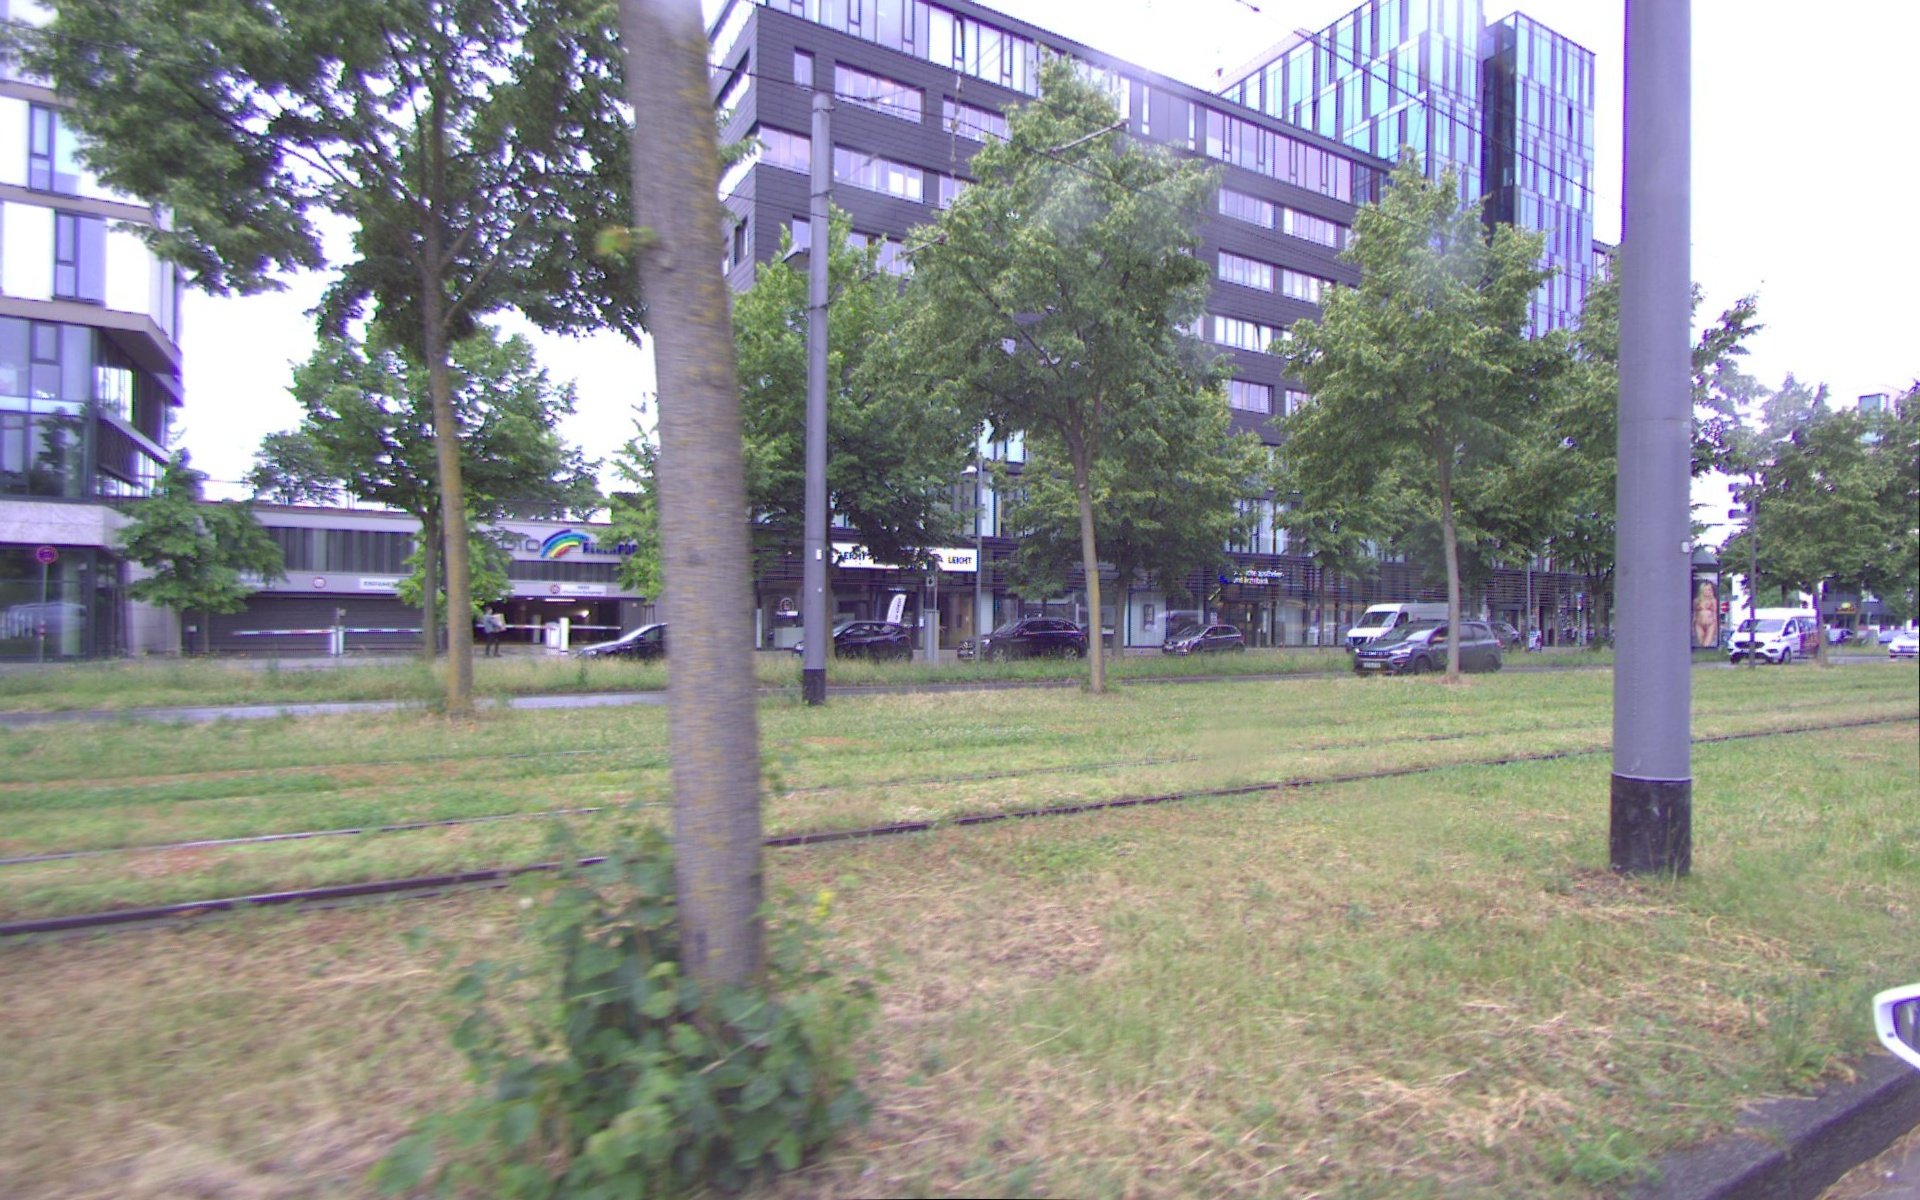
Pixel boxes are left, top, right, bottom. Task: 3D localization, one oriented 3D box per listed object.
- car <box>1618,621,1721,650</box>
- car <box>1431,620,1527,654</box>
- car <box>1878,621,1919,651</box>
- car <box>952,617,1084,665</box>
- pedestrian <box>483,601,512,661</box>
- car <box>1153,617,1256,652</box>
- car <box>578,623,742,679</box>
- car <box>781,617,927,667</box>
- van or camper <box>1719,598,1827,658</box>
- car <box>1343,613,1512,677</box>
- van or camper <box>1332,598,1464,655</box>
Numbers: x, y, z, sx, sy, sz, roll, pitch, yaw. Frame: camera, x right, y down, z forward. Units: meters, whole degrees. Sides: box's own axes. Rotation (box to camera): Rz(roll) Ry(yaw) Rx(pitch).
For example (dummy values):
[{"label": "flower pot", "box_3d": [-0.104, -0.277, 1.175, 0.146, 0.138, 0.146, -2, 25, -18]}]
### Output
[{"label": "car", "box_3d": [39.814, 1.970, 56.484, 4.600, 1.542, 1.995, 0, -1, 32]}, {"label": "car", "box_3d": [24.371, 1.710, 47.111, 4.555, 1.542, 1.983, 1, -1, -32]}, {"label": "car", "box_3d": [49.958, 1.871, 52.520, 3.954, 1.479, 1.875, 1, -1, -31]}, {"label": "car", "box_3d": [1.947, 1.337, 33.517, 4.192, 1.469, 1.693, 1, -1, -31]}, {"label": "pedestrian", "box_3d": [-15.606, 1.042, 33.913, 0.843, 2.007, 0.793, 1, 0, -22]}, {"label": "car", "box_3d": [10.339, 1.437, 42.438, 4.134, 1.397, 1.808, 1, -1, -31]}, {"label": "car", "box_3d": [-8.210, 1.346, 27.528, 3.954, 1.397, 1.984, 1, -1, -31]}, {"label": "car", "box_3d": [-3.203, 1.248, 30.458, 3.954, 1.397, 1.984, 1, -1, -31]}, {"label": "van or camper", "box_3d": [35.121, 1.192, 43.362, 5.338, 2.442, 1.900, 1, -1, -30]}, {"label": "car", "box_3d": [12.252, 1.140, 26.280, 4.426, 1.544, 1.854, 1, -1, -30]}, {"label": "van or camper", "box_3d": [19.282, 1.139, 44.123, 5.782, 2.346, 2.421, 1, -1, -31]}]
